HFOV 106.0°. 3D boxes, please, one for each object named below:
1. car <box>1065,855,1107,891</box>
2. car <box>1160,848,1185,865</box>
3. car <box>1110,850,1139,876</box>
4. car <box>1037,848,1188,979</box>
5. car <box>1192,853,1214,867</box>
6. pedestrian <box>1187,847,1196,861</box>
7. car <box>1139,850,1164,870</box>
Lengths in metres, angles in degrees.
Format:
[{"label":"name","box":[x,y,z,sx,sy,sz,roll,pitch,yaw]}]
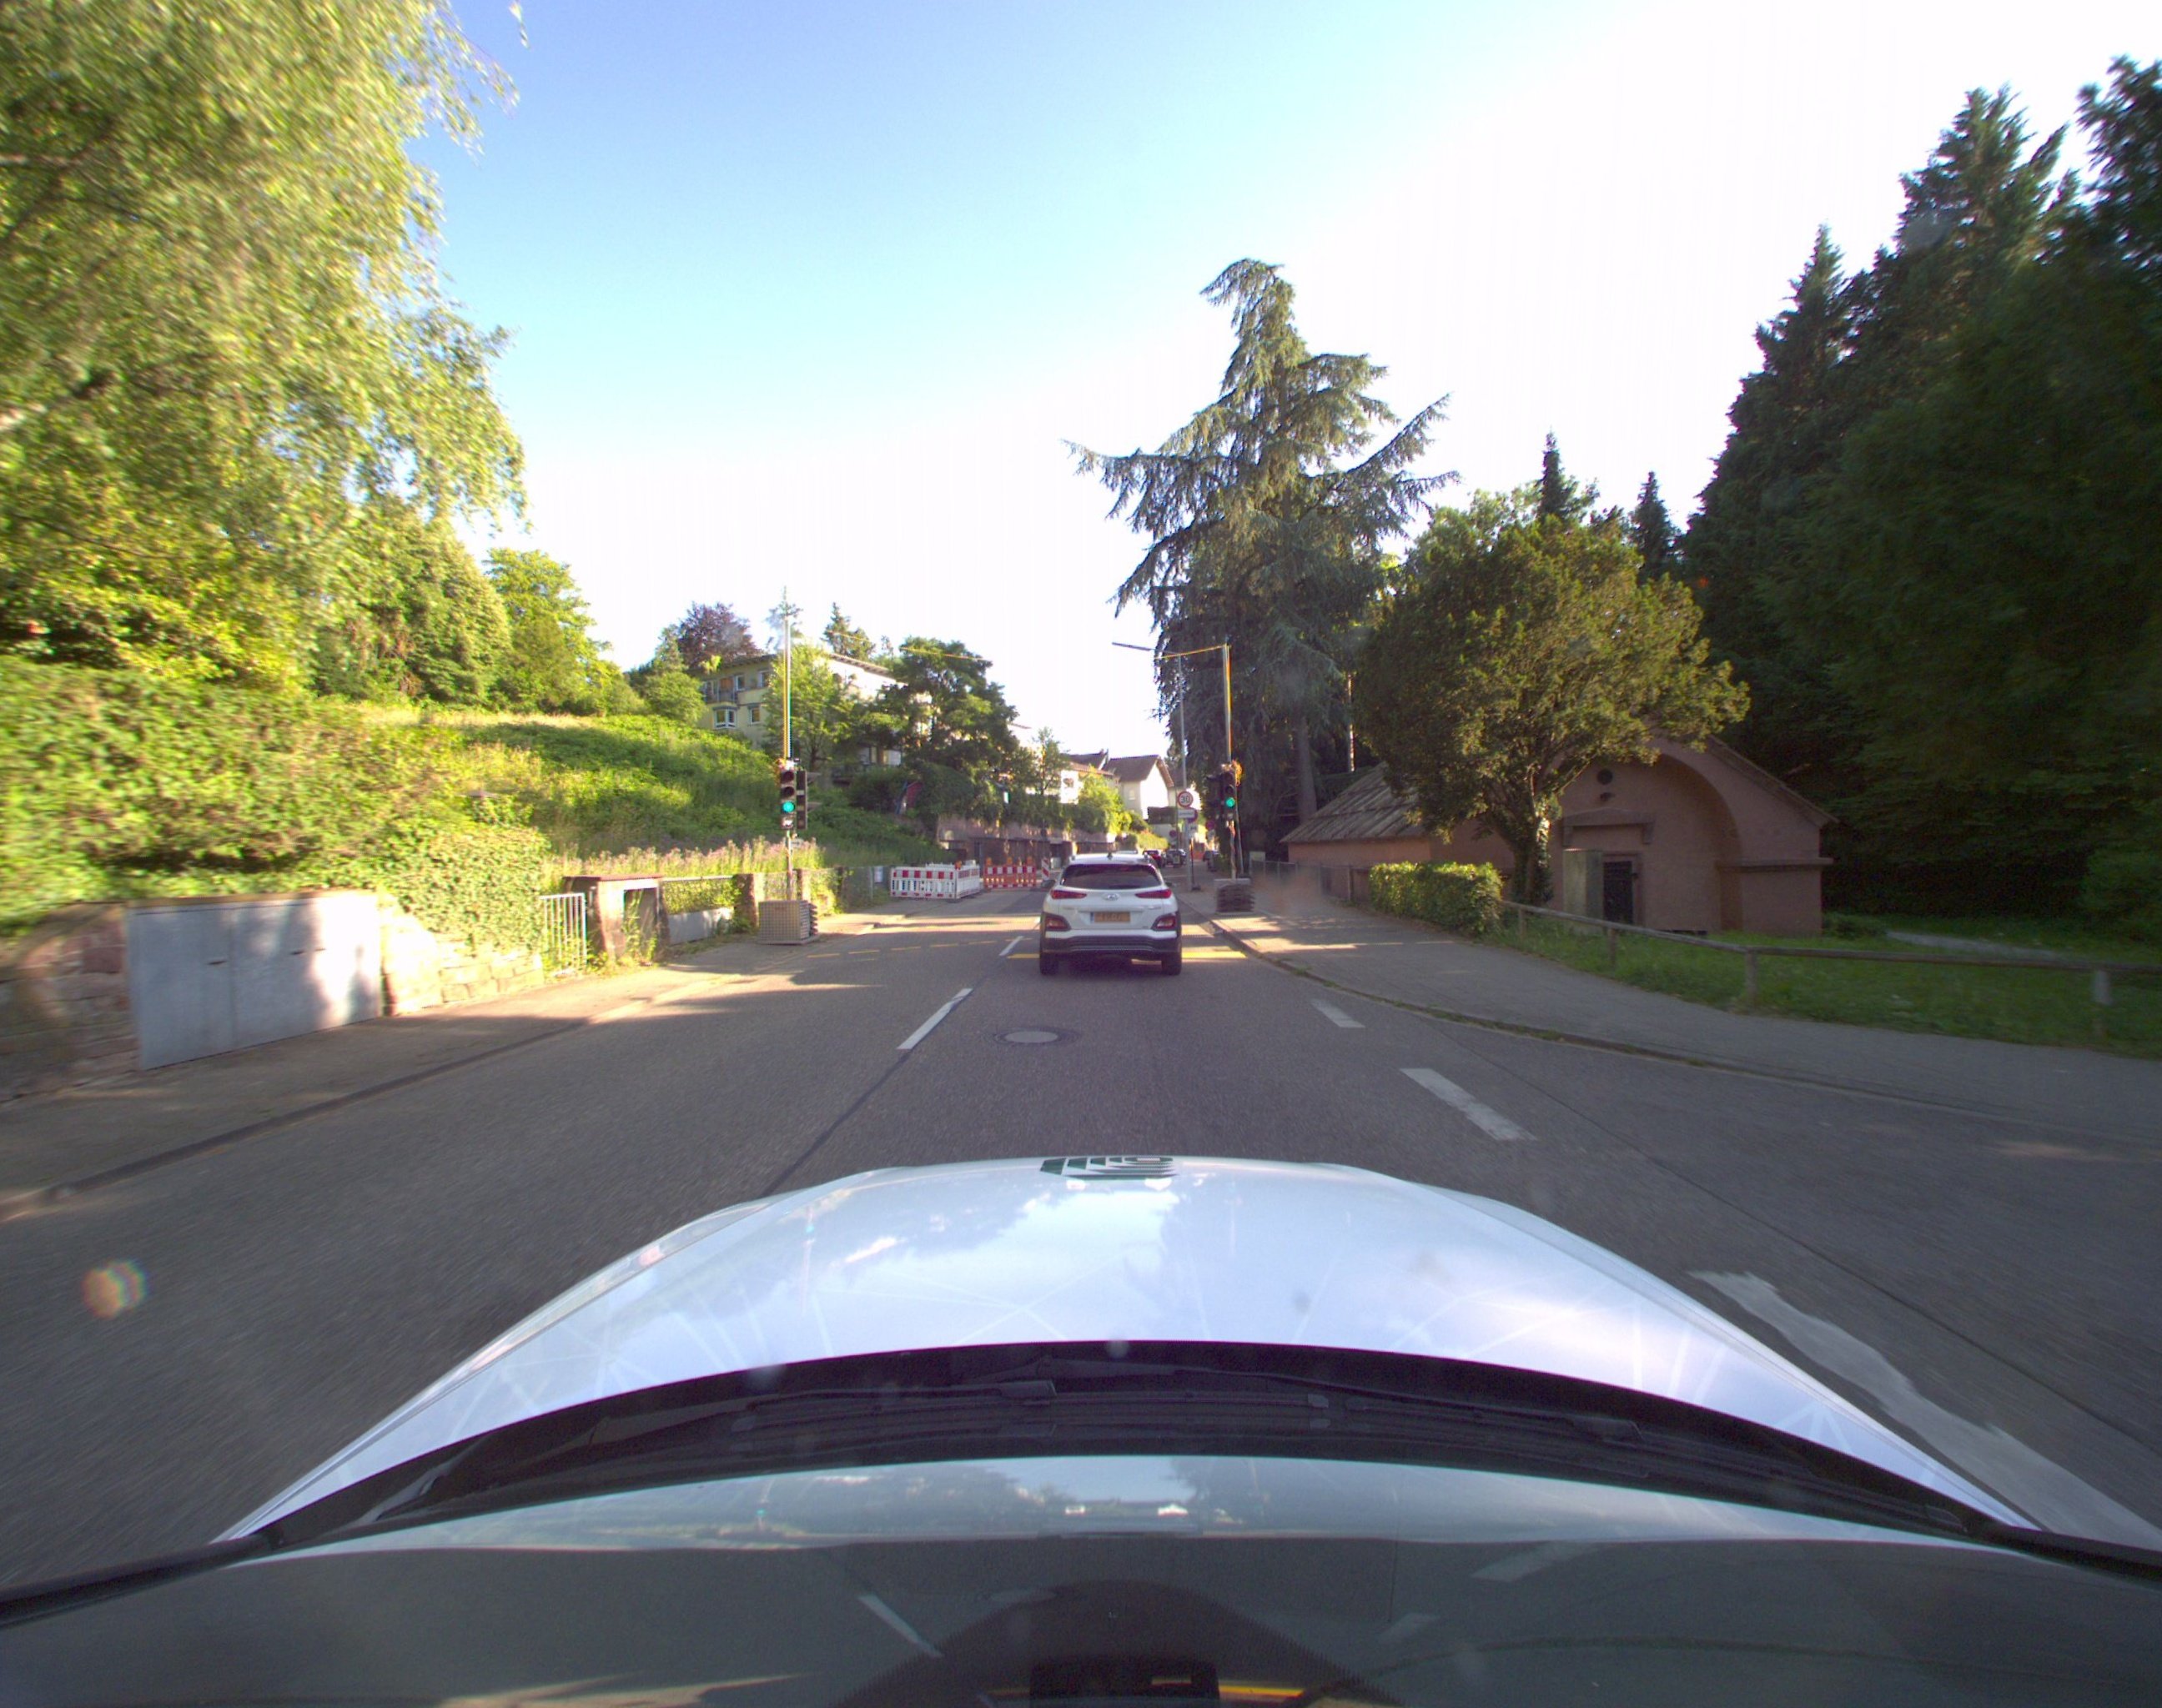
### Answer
[{"label":"car","box":[0.265,0.773,35.299,1.701,1.434,4.366,1,0,2]},{"label":"car","box":[9.457,0.259,83.641,1.817,1.741,4.017,-1,0,16]},{"label":"car","box":[2.755,0.532,51.945,1.798,1.537,4.002,1,0,2]},{"label":"car","box":[0.308,0.712,11.820,1.816,1.574,3.996,0,0,-2]},{"label":"car","box":[14.944,0.766,99.962,1.816,1.662,4.021,0,0,21]},{"label":"pedestrian","box":[14.863,0.027,109.475,1.071,1.912,0.844,0,0,18]},{"label":"car","box":[6.058,0.484,69.813,1.821,1.662,4.011,1,0,9]}]
